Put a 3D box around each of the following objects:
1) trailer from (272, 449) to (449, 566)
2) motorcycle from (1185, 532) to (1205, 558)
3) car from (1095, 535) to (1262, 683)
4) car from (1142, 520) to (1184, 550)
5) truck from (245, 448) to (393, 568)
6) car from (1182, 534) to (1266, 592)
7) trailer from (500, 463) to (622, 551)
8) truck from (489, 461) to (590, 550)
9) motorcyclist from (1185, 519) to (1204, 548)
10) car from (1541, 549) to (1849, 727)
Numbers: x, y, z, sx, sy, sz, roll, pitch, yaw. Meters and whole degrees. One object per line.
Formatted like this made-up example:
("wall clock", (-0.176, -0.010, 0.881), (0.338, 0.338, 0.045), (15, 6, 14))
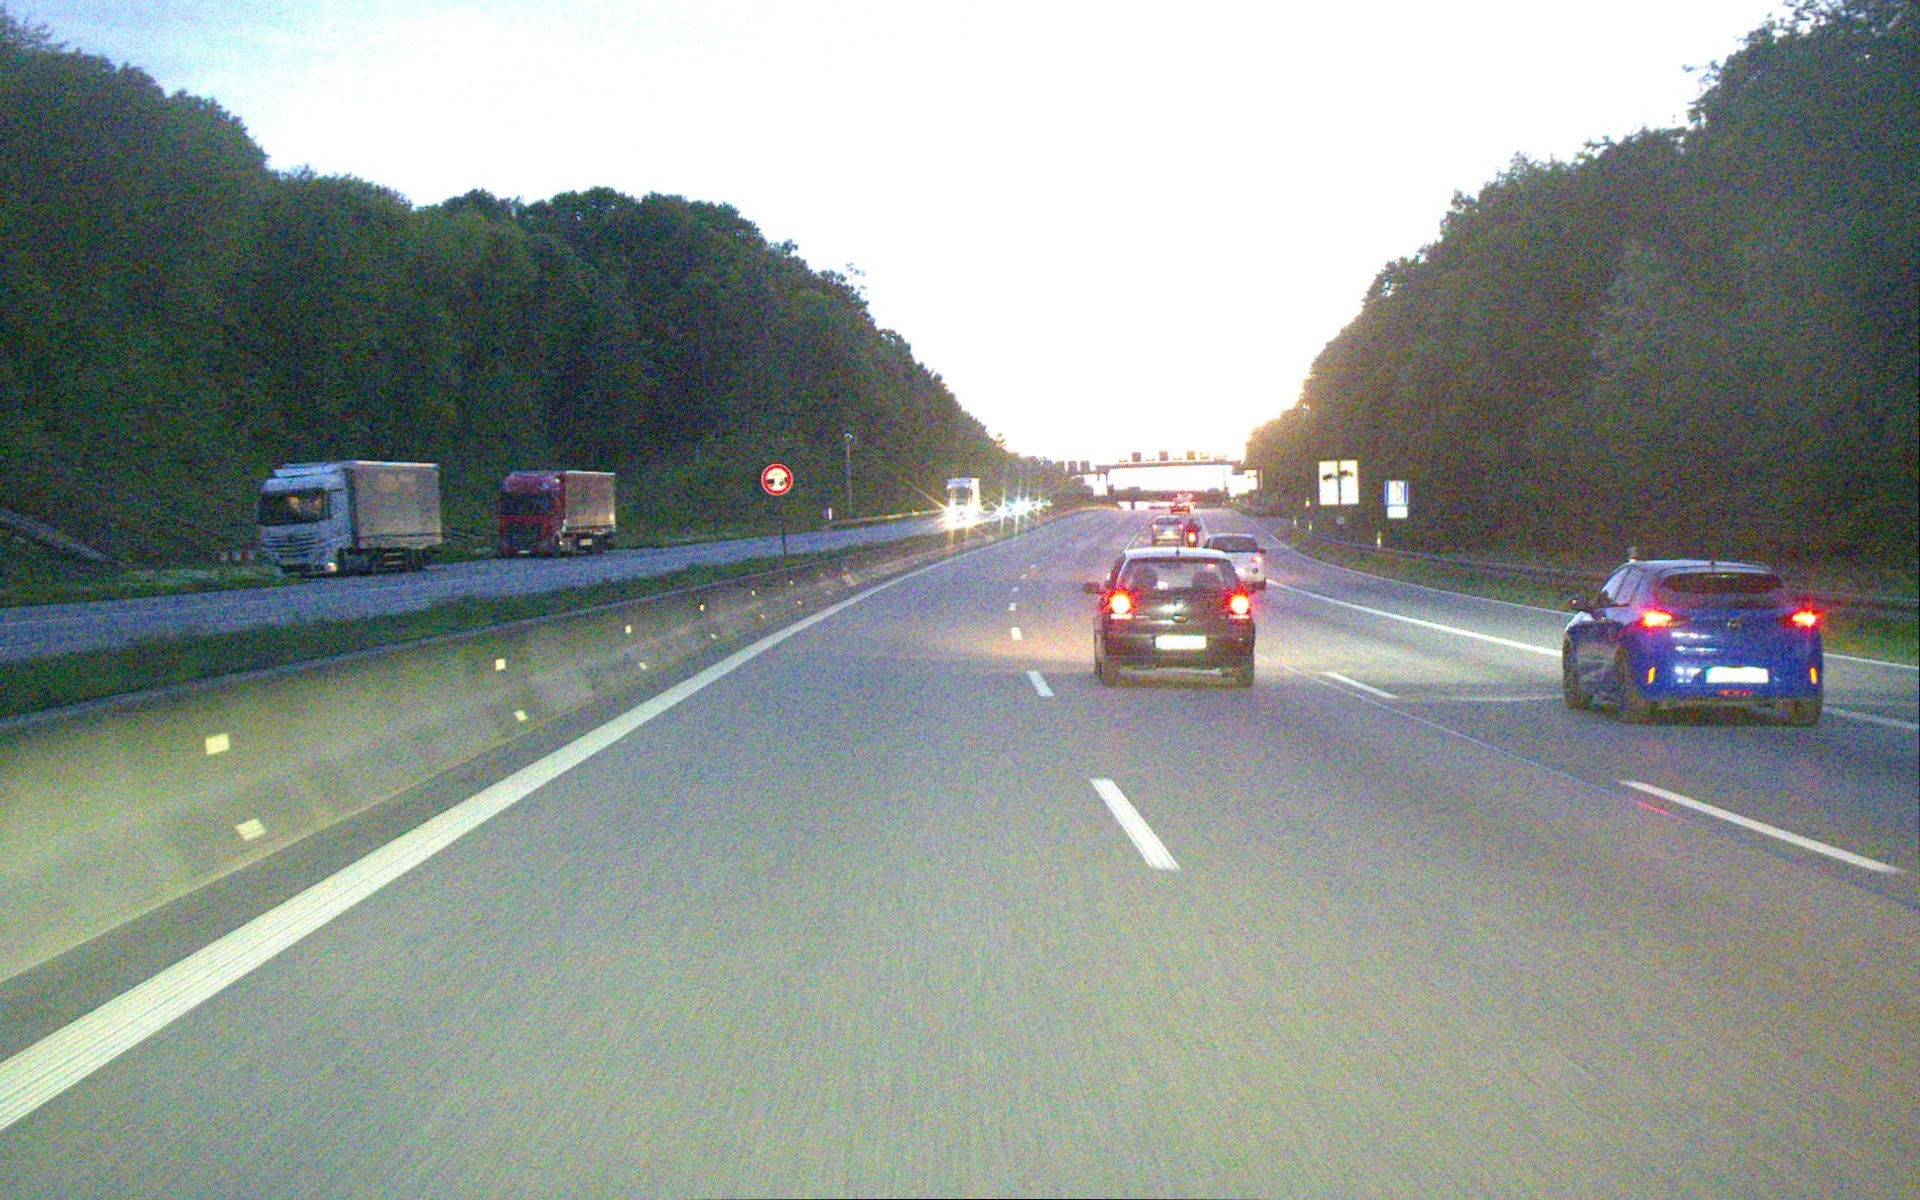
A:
("trailer", (-22.030, -3.396, 127.390), (3.191, 4.090, 13.739), (0, 1, 4))
("motorcycle", (10.462, -2.450, 153.179), (0.830, 1.130, 2.476), (-1, 1, 4))
("car", (2.337, 0.067, 37.650), (1.704, 1.504, 4.232), (1, 1, 2))
("car", (10.407, -3.332, 176.477), (1.865, 1.489, 4.399), (1, 1, -1))
("truck", (-22.500, -3.214, 121.086), (3.191, 4.090, 7.688), (0, 1, 5))
("car", (6.995, -0.983, 91.429), (1.825, 1.470, 4.399), (1, 1, -1))
("trailer", (-19.300, -4.497, 167.414), (3.191, 4.090, 14.182), (0, 1, 5))
("truck", (-19.740, -4.436, 161.831), (3.191, 4.090, 7.688), (0, 1, 5))
("motorcyclist", (10.449, -2.966, 153.100), (0.830, 1.287, 1.190), (-1, 1, 4))
("car", (6.571, 0.287, 31.230), (1.865, 1.431, 4.584), (1, 1, 1))
